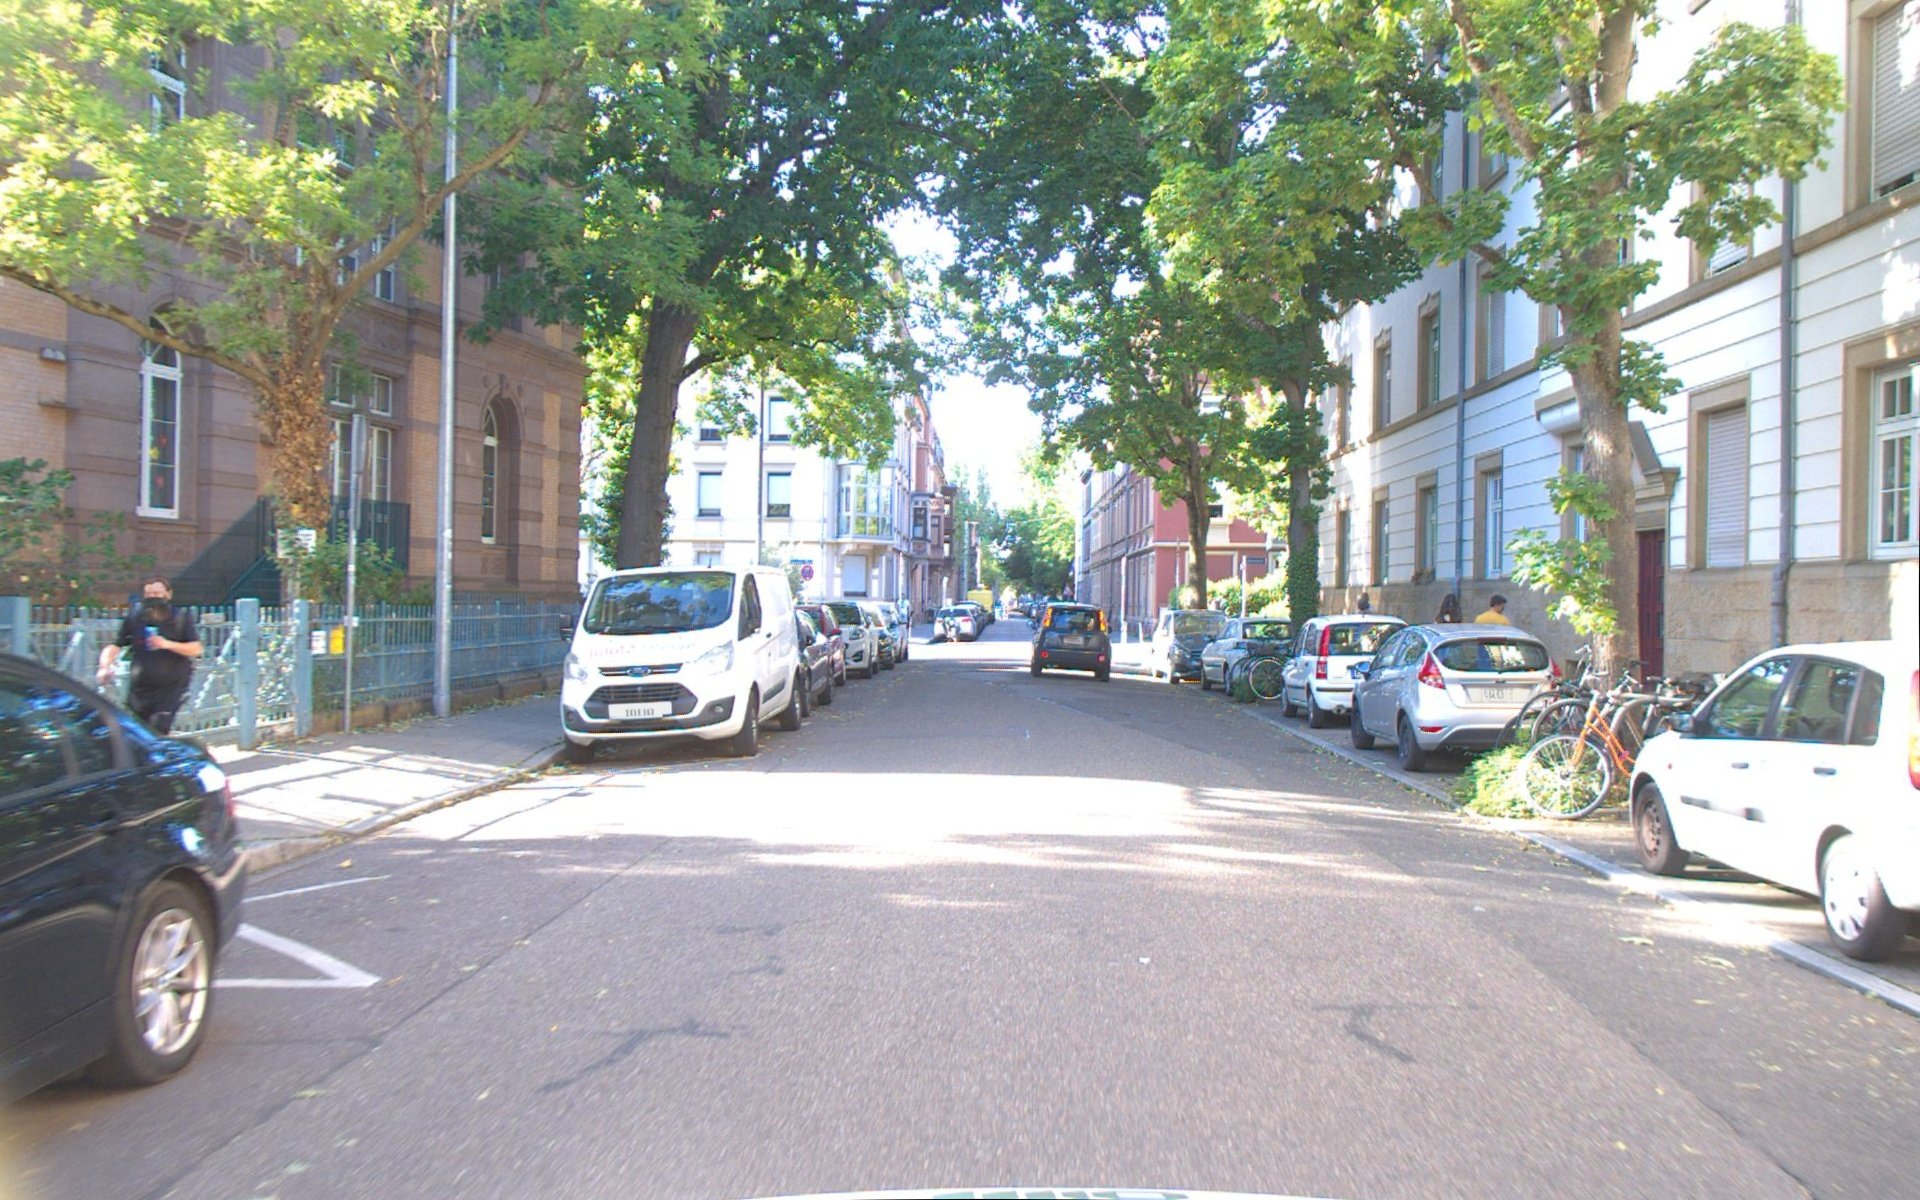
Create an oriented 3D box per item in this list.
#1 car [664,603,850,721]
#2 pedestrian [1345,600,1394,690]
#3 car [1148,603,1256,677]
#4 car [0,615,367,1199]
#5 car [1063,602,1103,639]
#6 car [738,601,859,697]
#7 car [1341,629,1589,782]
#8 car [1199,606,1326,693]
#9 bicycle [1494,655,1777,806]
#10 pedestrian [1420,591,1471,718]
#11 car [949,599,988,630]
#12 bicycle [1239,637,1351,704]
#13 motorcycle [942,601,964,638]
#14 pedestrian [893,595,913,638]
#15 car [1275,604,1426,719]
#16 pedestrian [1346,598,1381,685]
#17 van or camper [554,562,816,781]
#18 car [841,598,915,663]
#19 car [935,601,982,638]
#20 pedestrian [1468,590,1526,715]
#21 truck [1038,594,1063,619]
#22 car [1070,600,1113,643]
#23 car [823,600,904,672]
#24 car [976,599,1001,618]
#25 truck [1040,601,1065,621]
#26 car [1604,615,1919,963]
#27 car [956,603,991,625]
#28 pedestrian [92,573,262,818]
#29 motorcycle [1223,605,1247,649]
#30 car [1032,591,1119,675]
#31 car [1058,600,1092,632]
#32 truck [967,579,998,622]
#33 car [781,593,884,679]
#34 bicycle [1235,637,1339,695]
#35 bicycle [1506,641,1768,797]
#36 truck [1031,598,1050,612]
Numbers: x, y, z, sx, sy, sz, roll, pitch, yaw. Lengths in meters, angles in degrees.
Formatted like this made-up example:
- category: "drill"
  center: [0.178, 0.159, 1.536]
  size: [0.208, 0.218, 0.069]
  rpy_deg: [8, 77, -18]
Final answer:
- category: "car"
  center: [-2.836, 0.824, 24.138]
  size: [1.959, 1.483, 4.607]
  rpy_deg: [-2, 0, 2]
- category: "pedestrian"
  center: [8.073, 0.868, 32.614]
  size: [0.761, 1.724, 0.875]
  rpy_deg: [1, 0, 5]
- category: "car"
  center: [5.462, 0.869, 37.755]
  size: [1.752, 1.578, 4.409]
  rpy_deg: [1, 0, -1]
- category: "car"
  center: [-3.230, 0.819, 4.088]
  size: [1.678, 1.419, 4.780]
  rpy_deg: [-3, 0, 1]
- category: "car"
  center: [5.382, 0.869, 72.900]
  size: [1.628, 1.531, 3.758]
  rpy_deg: [2, 0, 3]
- category: "car"
  center: [-2.770, 0.804, 29.042]
  size: [1.568, 1.485, 4.028]
  rpy_deg: [-2, 0, 1]
- category: "car"
  center: [5.387, 1.058, 18.155]
  size: [1.588, 1.418, 4.158]
  rpy_deg: [0, 0, 2]
- category: "car"
  center: [5.688, 0.895, 31.522]
  size: [1.578, 1.504, 3.868]
  rpy_deg: [0, 0, -2]
- category: "bicycle"
  center: [5.225, 1.001, 12.872]
  size: [1.928, 1.092, 0.600]
  rpy_deg: [-1, 0, 3]
- category: "pedestrian"
  center: [6.910, 0.764, 23.548]
  size: [0.509, 1.765, 0.878]
  rpy_deg: [0, 0, 3]
- category: "car"
  center: [0.473, 0.723, 87.437]
  size: [1.790, 1.505, 3.926]
  rpy_deg: [-3, 0, 3]
- category: "bicycle"
  center: [5.586, 1.173, 27.613]
  size: [1.733, 1.057, 0.606]
  rpy_deg: [1, 0, 2]
- category: "motorcycle"
  center: [-0.294, 0.796, 67.743]
  size: [0.683, 1.486, 1.748]
  rpy_deg: [-1, 0, -7]
- category: "pedestrian"
  center: [-2.513, 0.710, 73.285]
  size: [0.707, 1.871, 0.627]
  rpy_deg: [1, 0, 13]
- category: "car"
  center: [5.604, 0.829, 24.088]
  size: [1.488, 1.537, 3.544]
  rpy_deg: [0, 0, 2]
- category: "pedestrian"
  center: [8.164, 0.831, 33.478]
  size: [0.479, 1.735, 0.757]
  rpy_deg: [1, 0, 1]
- category: "van or camper"
  center: [-2.878, 0.693, 18.619]
  size: [1.882, 2.014, 5.462]
  rpy_deg: [-3, 0, 1]
- category: "car"
  center: [-2.155, 0.777, 44.378]
  size: [1.661, 1.578, 3.920]
  rpy_deg: [-3, 0, 1]
- category: "car"
  center: [-0.049, 0.818, 71.035]
  size: [1.759, 1.457, 3.926]
  rpy_deg: [-3, 0, 3]
- category: "pedestrian"
  center: [7.591, 0.735, 23.405]
  size: [0.583, 1.731, 0.689]
  rpy_deg: [1, 0, 3]
- category: "truck"
  center: [7.485, 0.528, 137.169]
  size: [1.952, 2.027, 4.001]
  rpy_deg: [0, 0, 2]
- category: "car"
  center: [5.396, 0.859, 68.402]
  size: [1.628, 1.698, 3.758]
  rpy_deg: [2, 0, 3]
- category: "car"
  center: [-2.300, 0.806, 39.277]
  size: [1.712, 1.500, 4.461]
  rpy_deg: [-3, 0, -4]
- category: "car"
  center: [2.413, 0.711, 138.891]
  size: [1.921, 1.505, 3.926]
  rpy_deg: [-3, 0, 3]
- category: "truck"
  center: [7.349, 0.861, 131.787]
  size: [1.952, 1.482, 4.001]
  rpy_deg: [0, 0, 2]
- category: "car"
  center: [5.067, 0.863, 9.259]
  size: [1.563, 1.514, 3.749]
  rpy_deg: [0, 0, 2]
- category: "car"
  center: [0.836, 0.862, 101.884]
  size: [1.921, 1.246, 3.926]
  rpy_deg: [-3, 0, 3]
- category: "pedestrian"
  center: [-5.311, 0.632, 11.250]
  size: [0.863, 1.605, 0.529]
  rpy_deg: [1, 0, 2]
- category: "motorcycle"
  center: [9.841, 0.954, 59.077]
  size: [0.809, 1.429, 2.559]
  rpy_deg: [0, 2, 10]
- category: "car"
  center: [2.370, 0.649, 34.586]
  size: [1.599, 1.577, 3.265]
  rpy_deg: [2, 1, 1]
- category: "car"
  center: [5.807, 0.787, 83.897]
  size: [1.628, 1.531, 3.758]
  rpy_deg: [2, 0, 3]
- category: "truck"
  center: [1.720, 0.043, 123.639]
  size: [2.027, 2.977, 5.069]
  rpy_deg: [-3, 0, 3]
- category: "car"
  center: [-2.585, 0.705, 34.374]
  size: [1.788, 1.581, 4.133]
  rpy_deg: [-3, 0, -1]
- category: "bicycle"
  center: [5.690, 1.149, 28.833]
  size: [1.680, 0.966, 0.733]
  rpy_deg: [0, 0, 2]
- category: "bicycle"
  center: [5.800, 1.006, 14.251]
  size: [1.928, 1.251, 0.760]
  rpy_deg: [-1, 0, 3]
- category: "truck"
  center: [8.311, 0.509, 171.363]
  size: [1.952, 1.482, 4.001]
  rpy_deg: [0, 0, 2]
